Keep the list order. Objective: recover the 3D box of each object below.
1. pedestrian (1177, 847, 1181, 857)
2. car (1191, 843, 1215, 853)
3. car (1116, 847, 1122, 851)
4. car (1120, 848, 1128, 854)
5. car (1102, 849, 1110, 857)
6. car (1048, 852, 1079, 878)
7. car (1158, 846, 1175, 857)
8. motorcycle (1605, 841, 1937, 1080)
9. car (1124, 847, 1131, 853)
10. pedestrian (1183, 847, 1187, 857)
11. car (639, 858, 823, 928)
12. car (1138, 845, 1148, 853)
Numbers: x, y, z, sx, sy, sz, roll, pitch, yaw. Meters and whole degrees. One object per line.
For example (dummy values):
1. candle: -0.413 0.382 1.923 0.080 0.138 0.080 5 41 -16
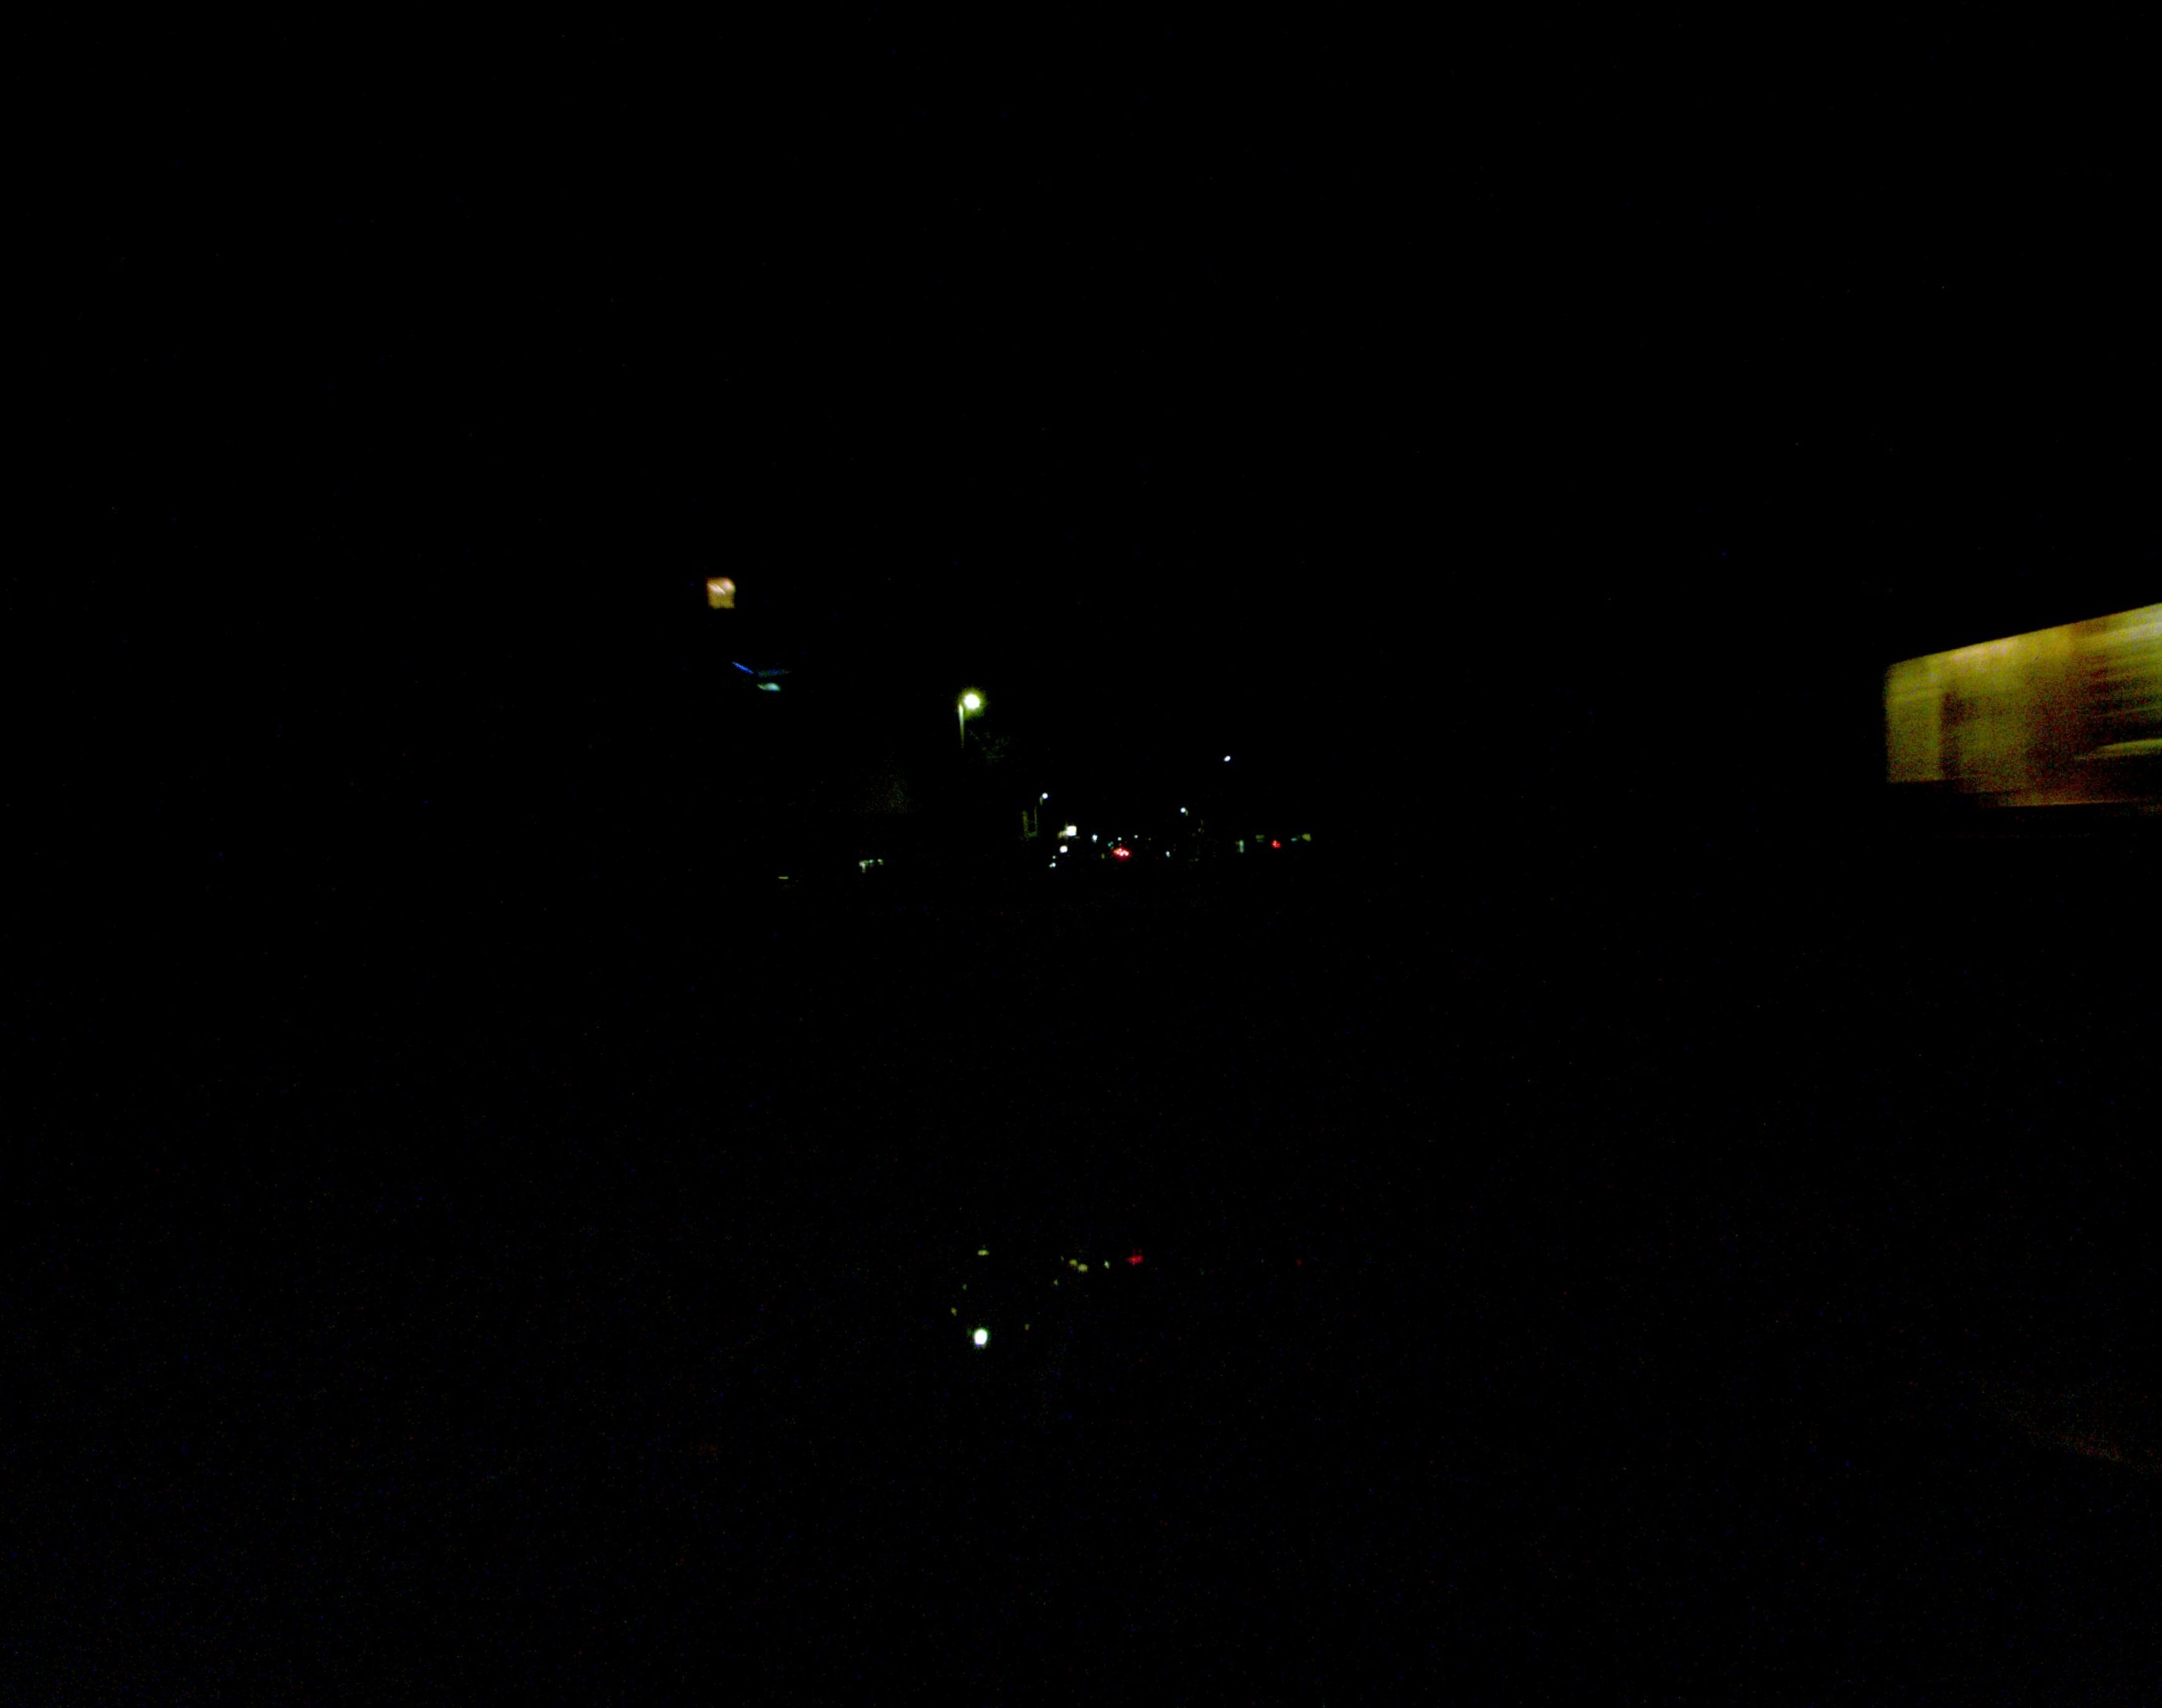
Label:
1. pedestrian: 15.700 -0.304 121.575 0.529 1.579 0.665 -3 1 -4
2. car: 20.412 -1.022 127.532 3.832 1.408 1.653 -2 1 5
3. car: 11.518 -1.569 228.683 1.821 1.271 3.917 -3 1 3
4. car: 11.872 -0.823 210.176 1.752 1.635 4.307 -2 1 1
5. car: 5.005 -0.171 152.356 1.606 1.474 3.699 -2 1 1
6. car: -1.127 0.710 50.580 1.747 1.560 4.208 -2 1 2
7. car: 11.563 -0.341 103.207 1.900 1.411 4.931 -4 0 4
8. motorcycle: 4.962 0.644 5.732 0.747 1.444 2.197 -2 1 9
9. car: 11.778 -1.084 192.931 1.720 1.420 3.816 -2 1 4
10. pedestrian: 16.674 -0.277 121.722 0.529 1.579 0.665 -3 1 -6
11. car: -8.193 0.889 18.020 3.514 1.516 1.820 1 1 0
12. car: 12.905 -1.040 157.495 1.814 1.637 3.804 -4 0 3
